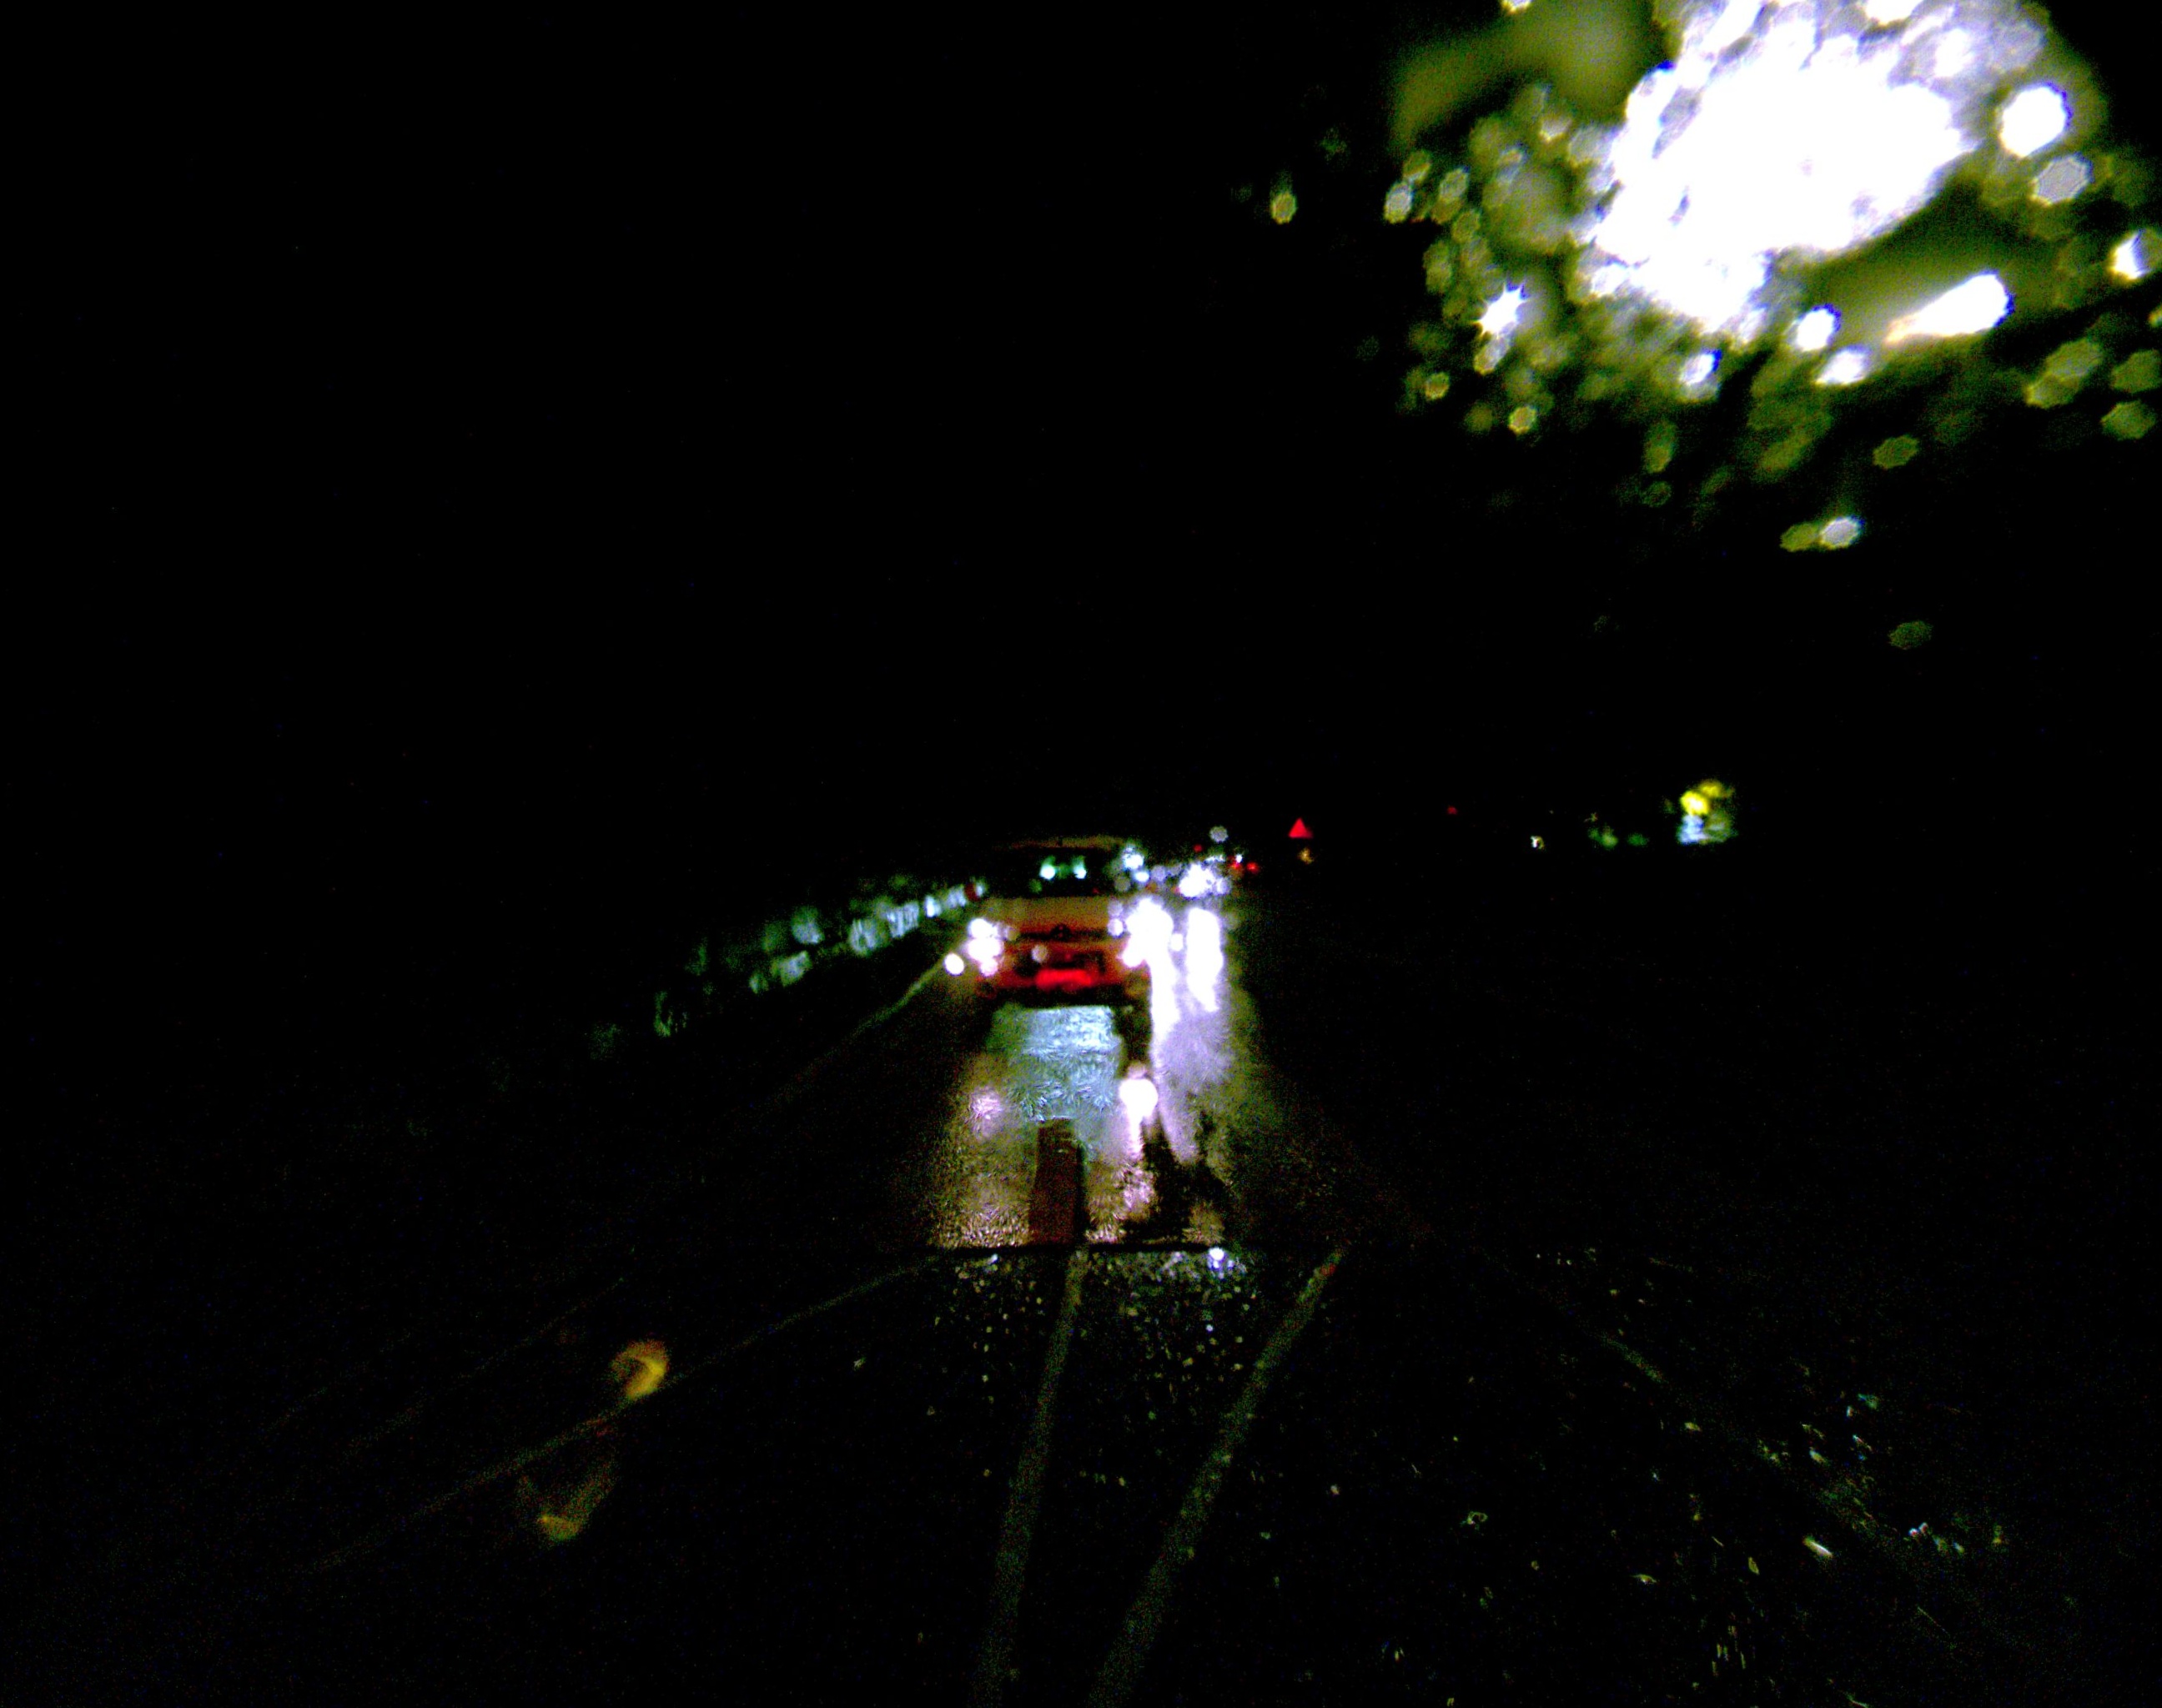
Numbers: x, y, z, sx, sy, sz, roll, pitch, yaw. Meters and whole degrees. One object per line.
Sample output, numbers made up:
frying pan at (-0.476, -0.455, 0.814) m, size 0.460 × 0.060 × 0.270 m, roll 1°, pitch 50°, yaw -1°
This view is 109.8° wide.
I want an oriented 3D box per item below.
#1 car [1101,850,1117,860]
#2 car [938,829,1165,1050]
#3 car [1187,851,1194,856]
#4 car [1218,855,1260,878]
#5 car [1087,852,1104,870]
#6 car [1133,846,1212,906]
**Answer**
car at (4.351, 0.173, 118.091) m, size 1.997 × 1.456 × 4.001 m, roll -1°, pitch 1°, yaw 8°
car at (-0.124, 0.714, 8.487) m, size 1.877 × 1.825 × 4.206 m, roll -1°, pitch 0°, yaw 3°
car at (35.577, -0.114, 247.043) m, size 1.806 × 1.416 × 4.209 m, roll -1°, pitch 1°, yaw 13°
car at (11.789, 0.884, 56.999) m, size 1.751 × 1.495 × 4.889 m, roll -2°, pitch 1°, yaw -5°
car at (1.736, 0.807, 92.168) m, size 1.998 × 2.002 × 3.999 m, roll -1°, pitch 1°, yaw 1°
car at (2.785, 0.630, 24.307) m, size 1.914 × 1.694 × 4.938 m, roll -1°, pitch 0°, yaw 0°
